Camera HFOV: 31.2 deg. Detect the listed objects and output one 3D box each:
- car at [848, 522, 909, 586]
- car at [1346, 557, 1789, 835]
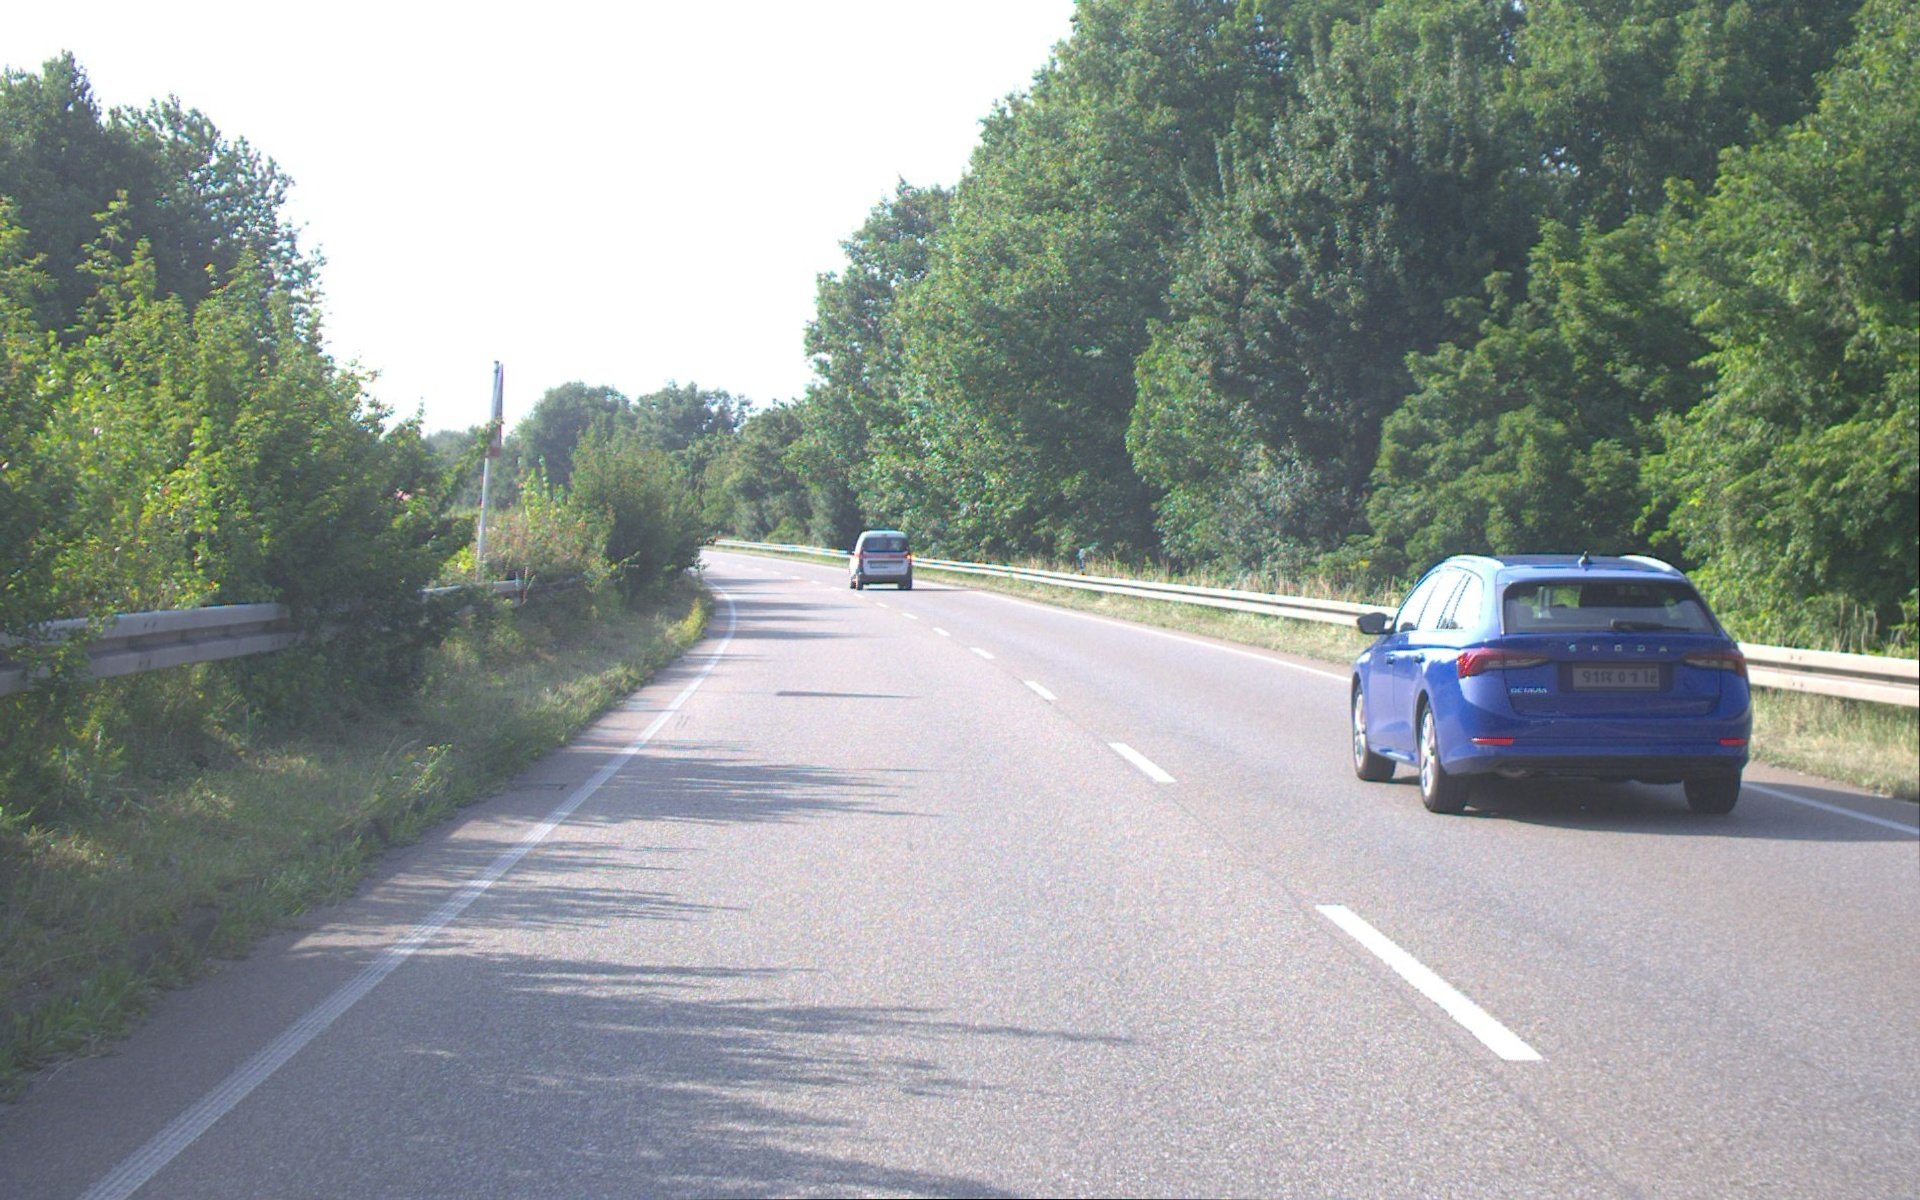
[{"bbox_3d":[-2.521,-1.423,105.443,1.765,1.875,4.001,1,2,-3],"label":"car"},{"bbox_3d":[3.460,0.489,20.307,1.779,1.446,4.000,1,1,-2],"label":"car"}]
